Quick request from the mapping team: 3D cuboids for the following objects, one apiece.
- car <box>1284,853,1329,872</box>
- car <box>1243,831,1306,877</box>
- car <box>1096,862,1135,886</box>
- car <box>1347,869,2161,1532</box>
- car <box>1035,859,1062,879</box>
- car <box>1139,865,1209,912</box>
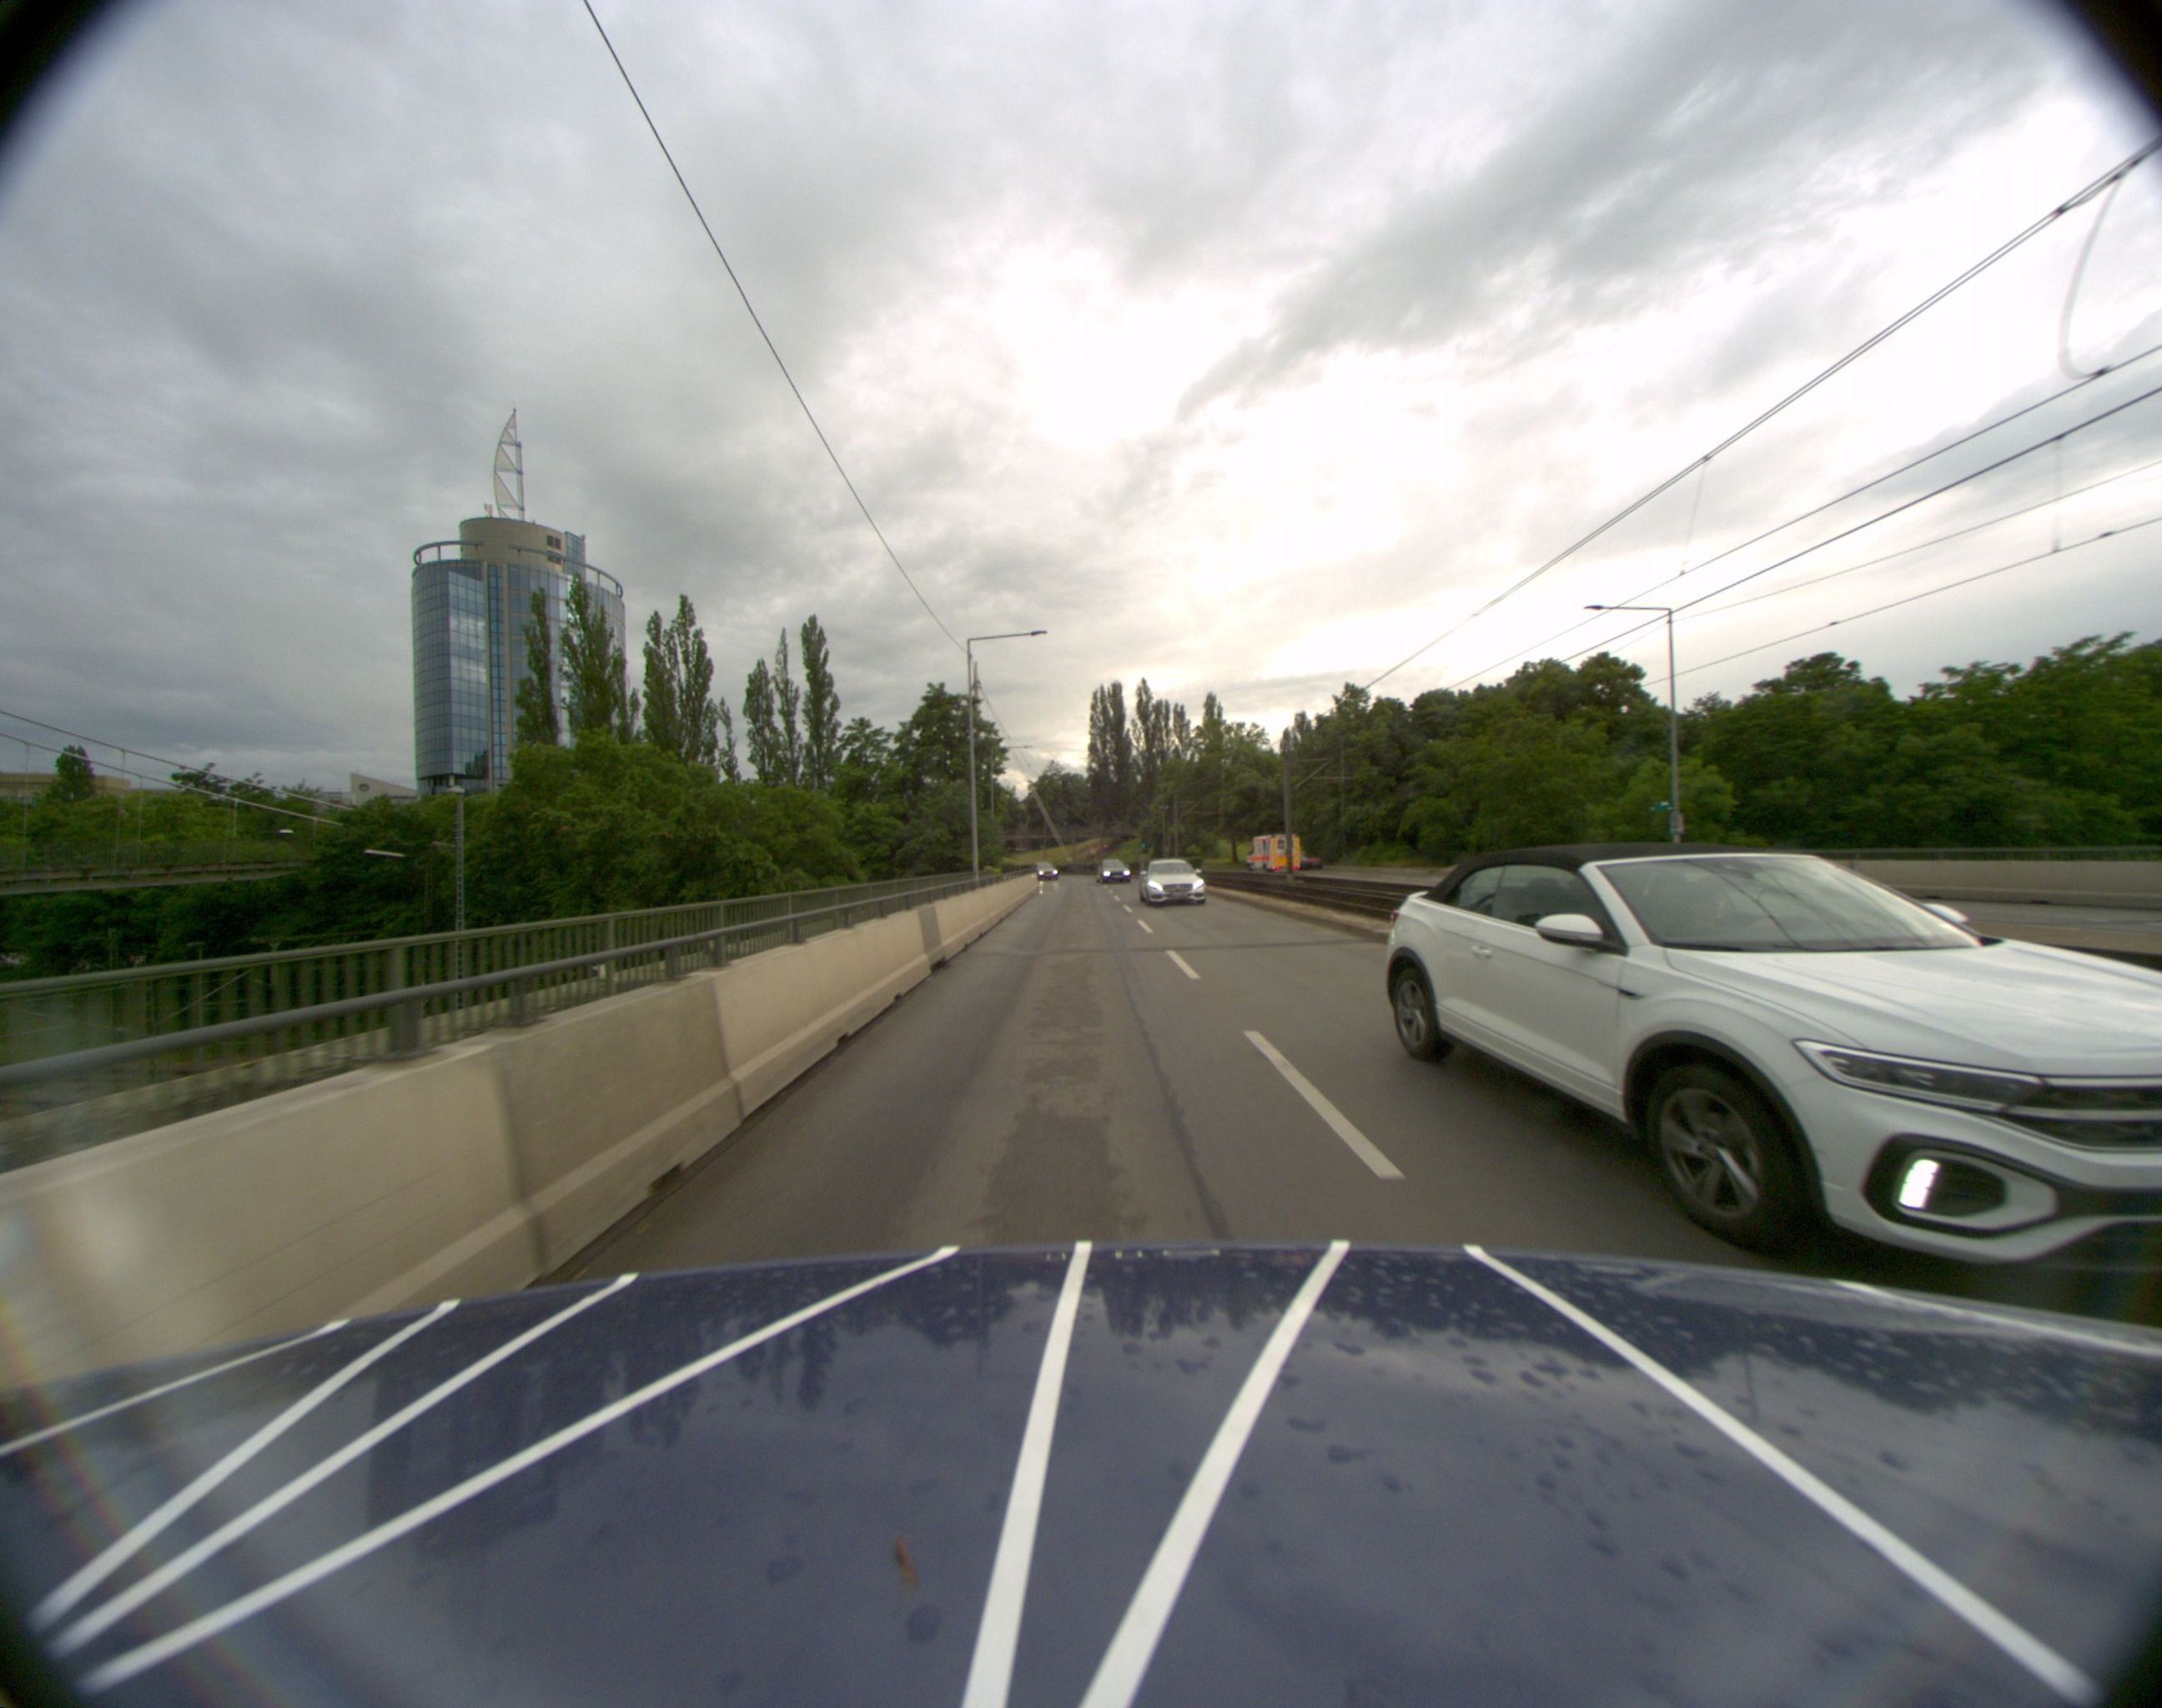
[{"bbox_3d":[17.959,0.687,60.756,1.842,1.306,4.618,-4,-1,-4],"label":"car"},{"bbox_3d":[14.151,0.023,55.967,2.396,3.097,6.354,-2,0,-5],"label":"car"},{"bbox_3d":[2.073,1.216,47.048,1.737,1.344,3.997,-2,0,-7],"label":"car"},{"bbox_3d":[3.239,0.905,4.168,1.876,1.515,4.540,-2,0,-1],"label":"car"},{"bbox_3d":[-2.635,1.198,60.944,1.769,1.492,3.997,-2,0,-8],"label":"car"},{"bbox_3d":[2.960,1.078,24.963,1.871,1.348,4.060,-1,0,1],"label":"car"}]
